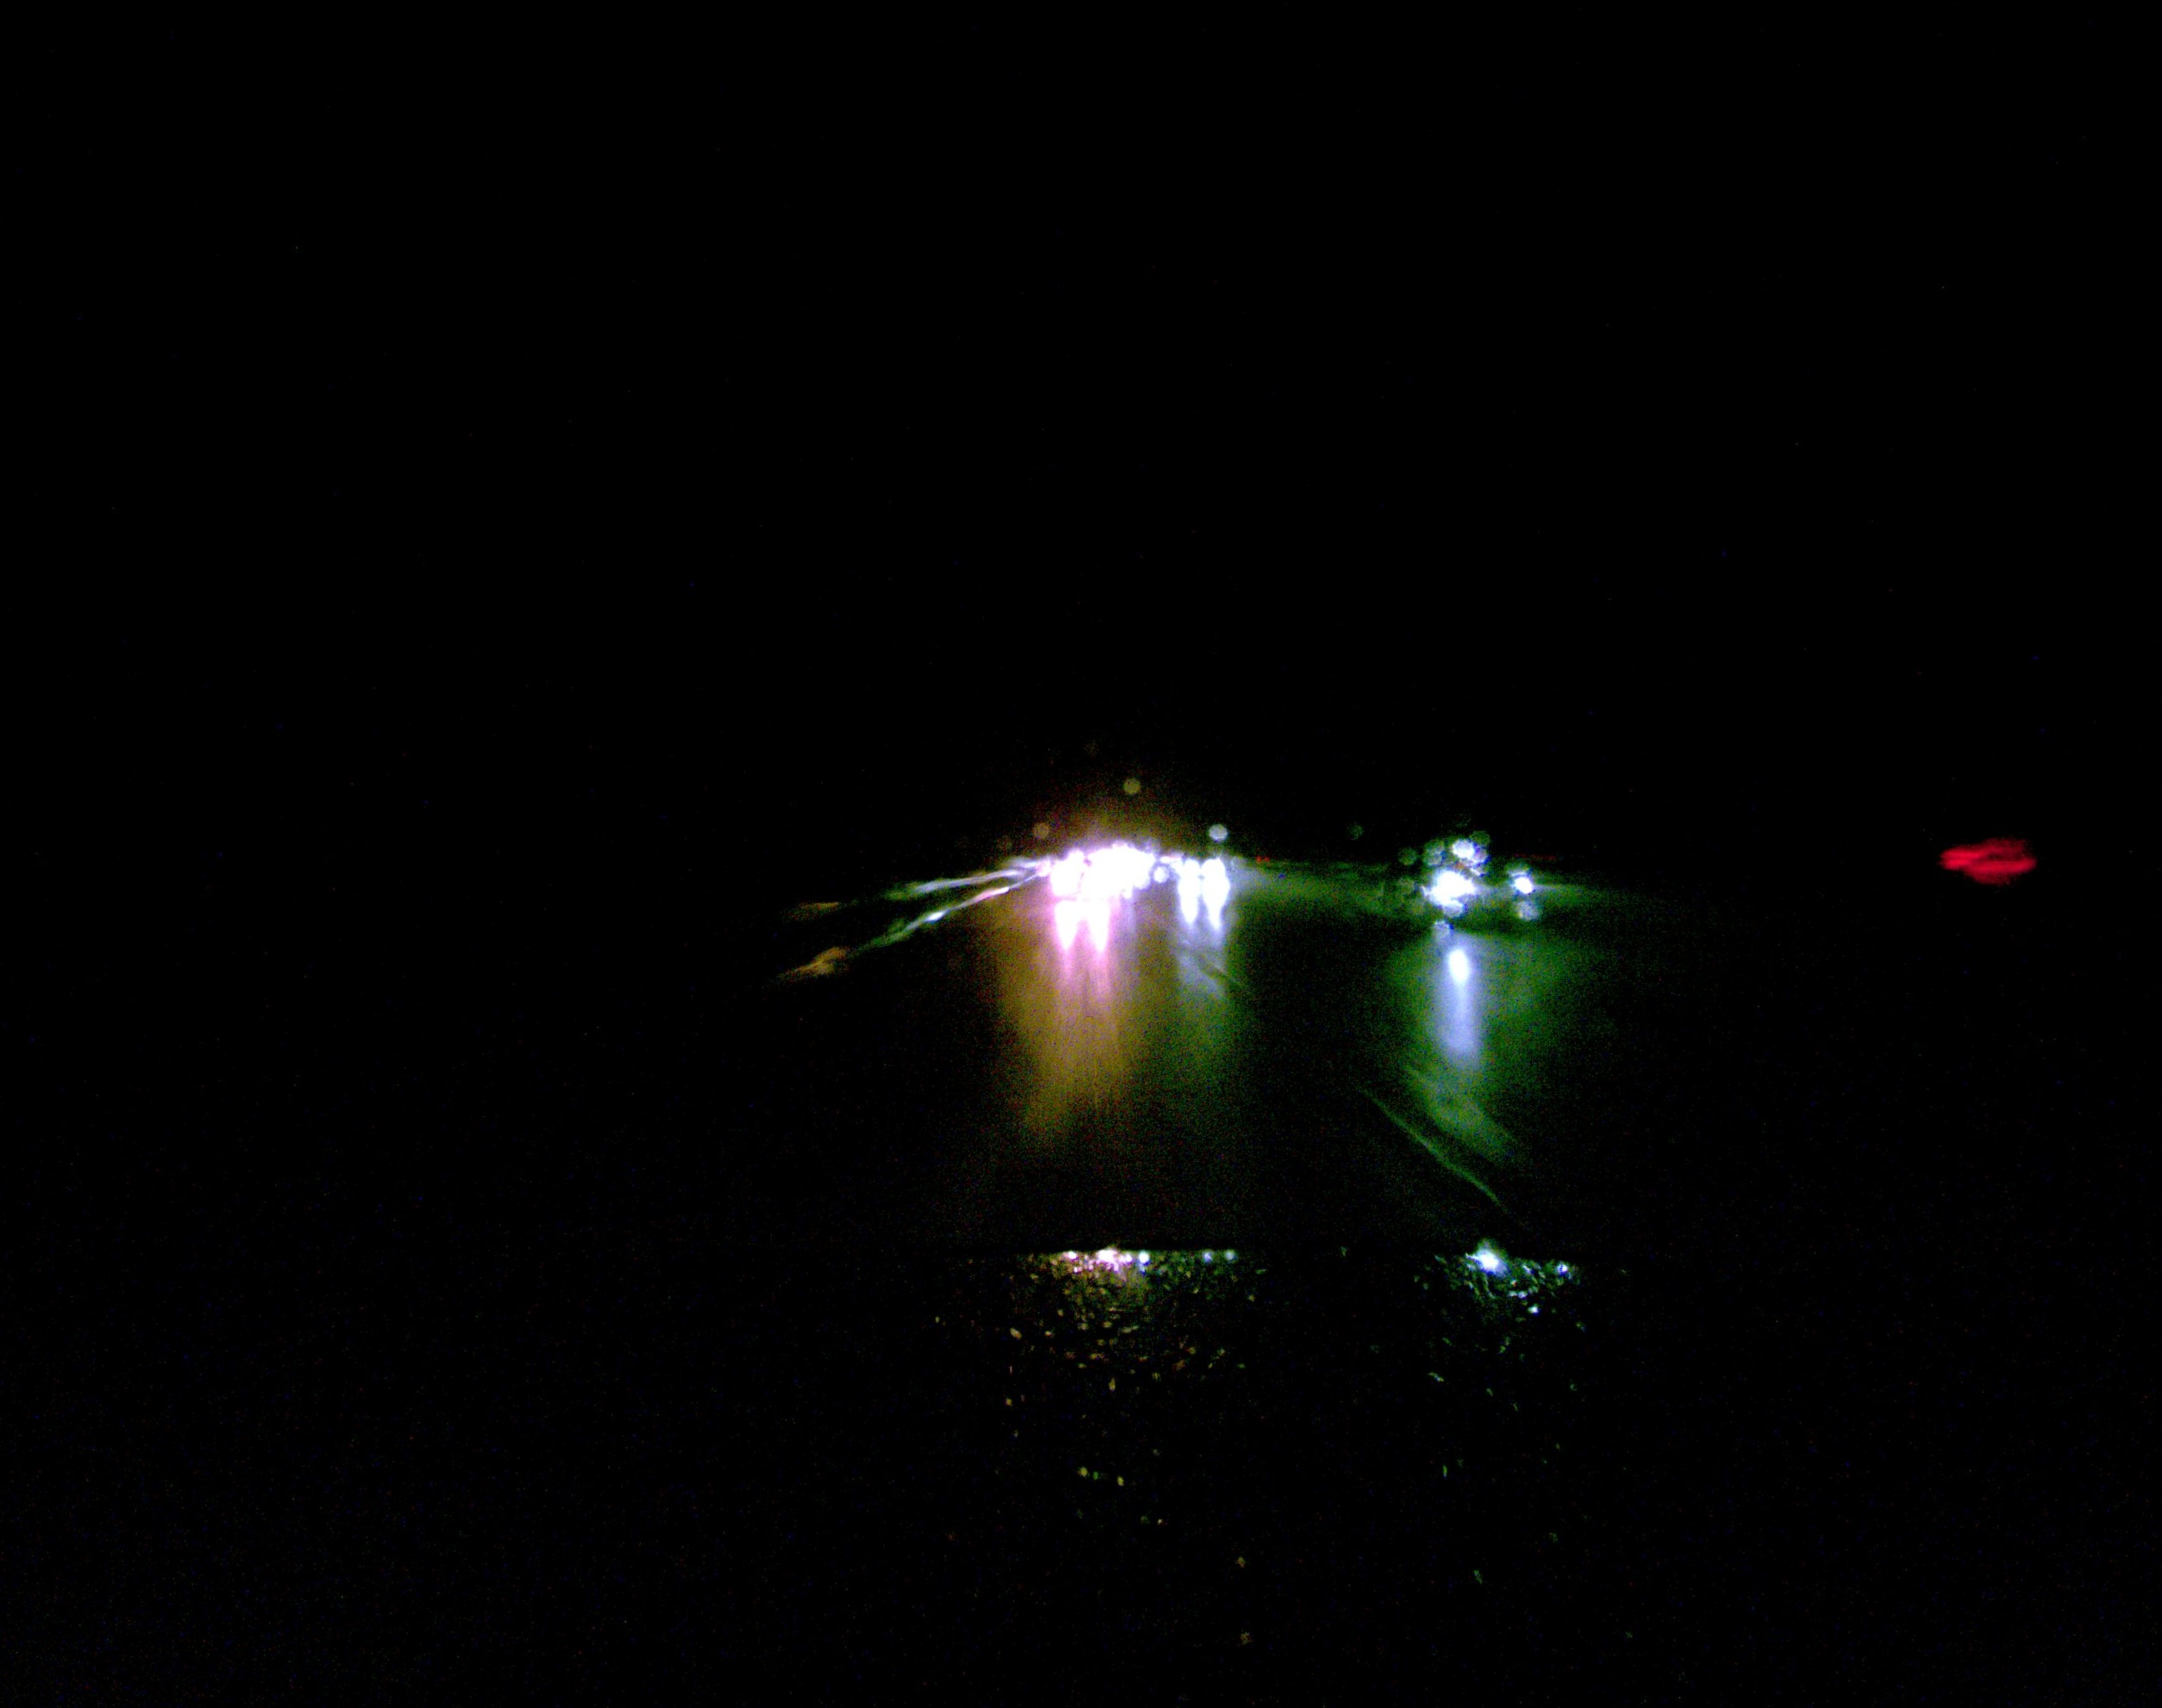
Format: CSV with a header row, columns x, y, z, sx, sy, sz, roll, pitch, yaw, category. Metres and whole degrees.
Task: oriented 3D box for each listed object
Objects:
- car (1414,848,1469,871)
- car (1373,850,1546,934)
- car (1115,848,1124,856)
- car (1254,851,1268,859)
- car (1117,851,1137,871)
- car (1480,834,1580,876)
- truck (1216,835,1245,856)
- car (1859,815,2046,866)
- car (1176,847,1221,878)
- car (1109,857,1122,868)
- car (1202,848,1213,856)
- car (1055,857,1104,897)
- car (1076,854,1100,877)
x,y,z,sx,sy,sz,roll,pitch,yaw,category
24.843,0.349,52.499,1.695,1.461,4.325,-2,0,1,car
7.655,0.677,15.853,1.660,1.422,4.247,-2,1,3,car
8.709,-0.396,171.161,1.800,1.728,4.000,-2,0,1,car
32.678,0.147,137.972,1.646,1.438,3.932,-2,0,1,car
4.272,0.652,71.235,1.611,1.775,3.910,-2,0,1,car
20.141,0.021,34.344,1.838,1.714,4.508,-2,0,1,car
33.817,-1.898,172.814,3.418,4.532,17.598,-2,0,1,truck
32.494,-0.481,28.561,1.838,1.714,4.508,-2,0,1,car
6.918,0.469,45.229,1.960,1.655,4.916,-2,0,1,car
5.115,1.210,112.780,1.755,1.563,4.000,-2,0,1,car
26.173,-0.433,157.229,1.646,1.438,3.932,-2,0,1,car
-0.003,0.878,30.486,1.774,1.449,4.196,-2,0,2,car
0.607,0.905,62.264,1.792,1.681,4.000,-2,0,1,car
